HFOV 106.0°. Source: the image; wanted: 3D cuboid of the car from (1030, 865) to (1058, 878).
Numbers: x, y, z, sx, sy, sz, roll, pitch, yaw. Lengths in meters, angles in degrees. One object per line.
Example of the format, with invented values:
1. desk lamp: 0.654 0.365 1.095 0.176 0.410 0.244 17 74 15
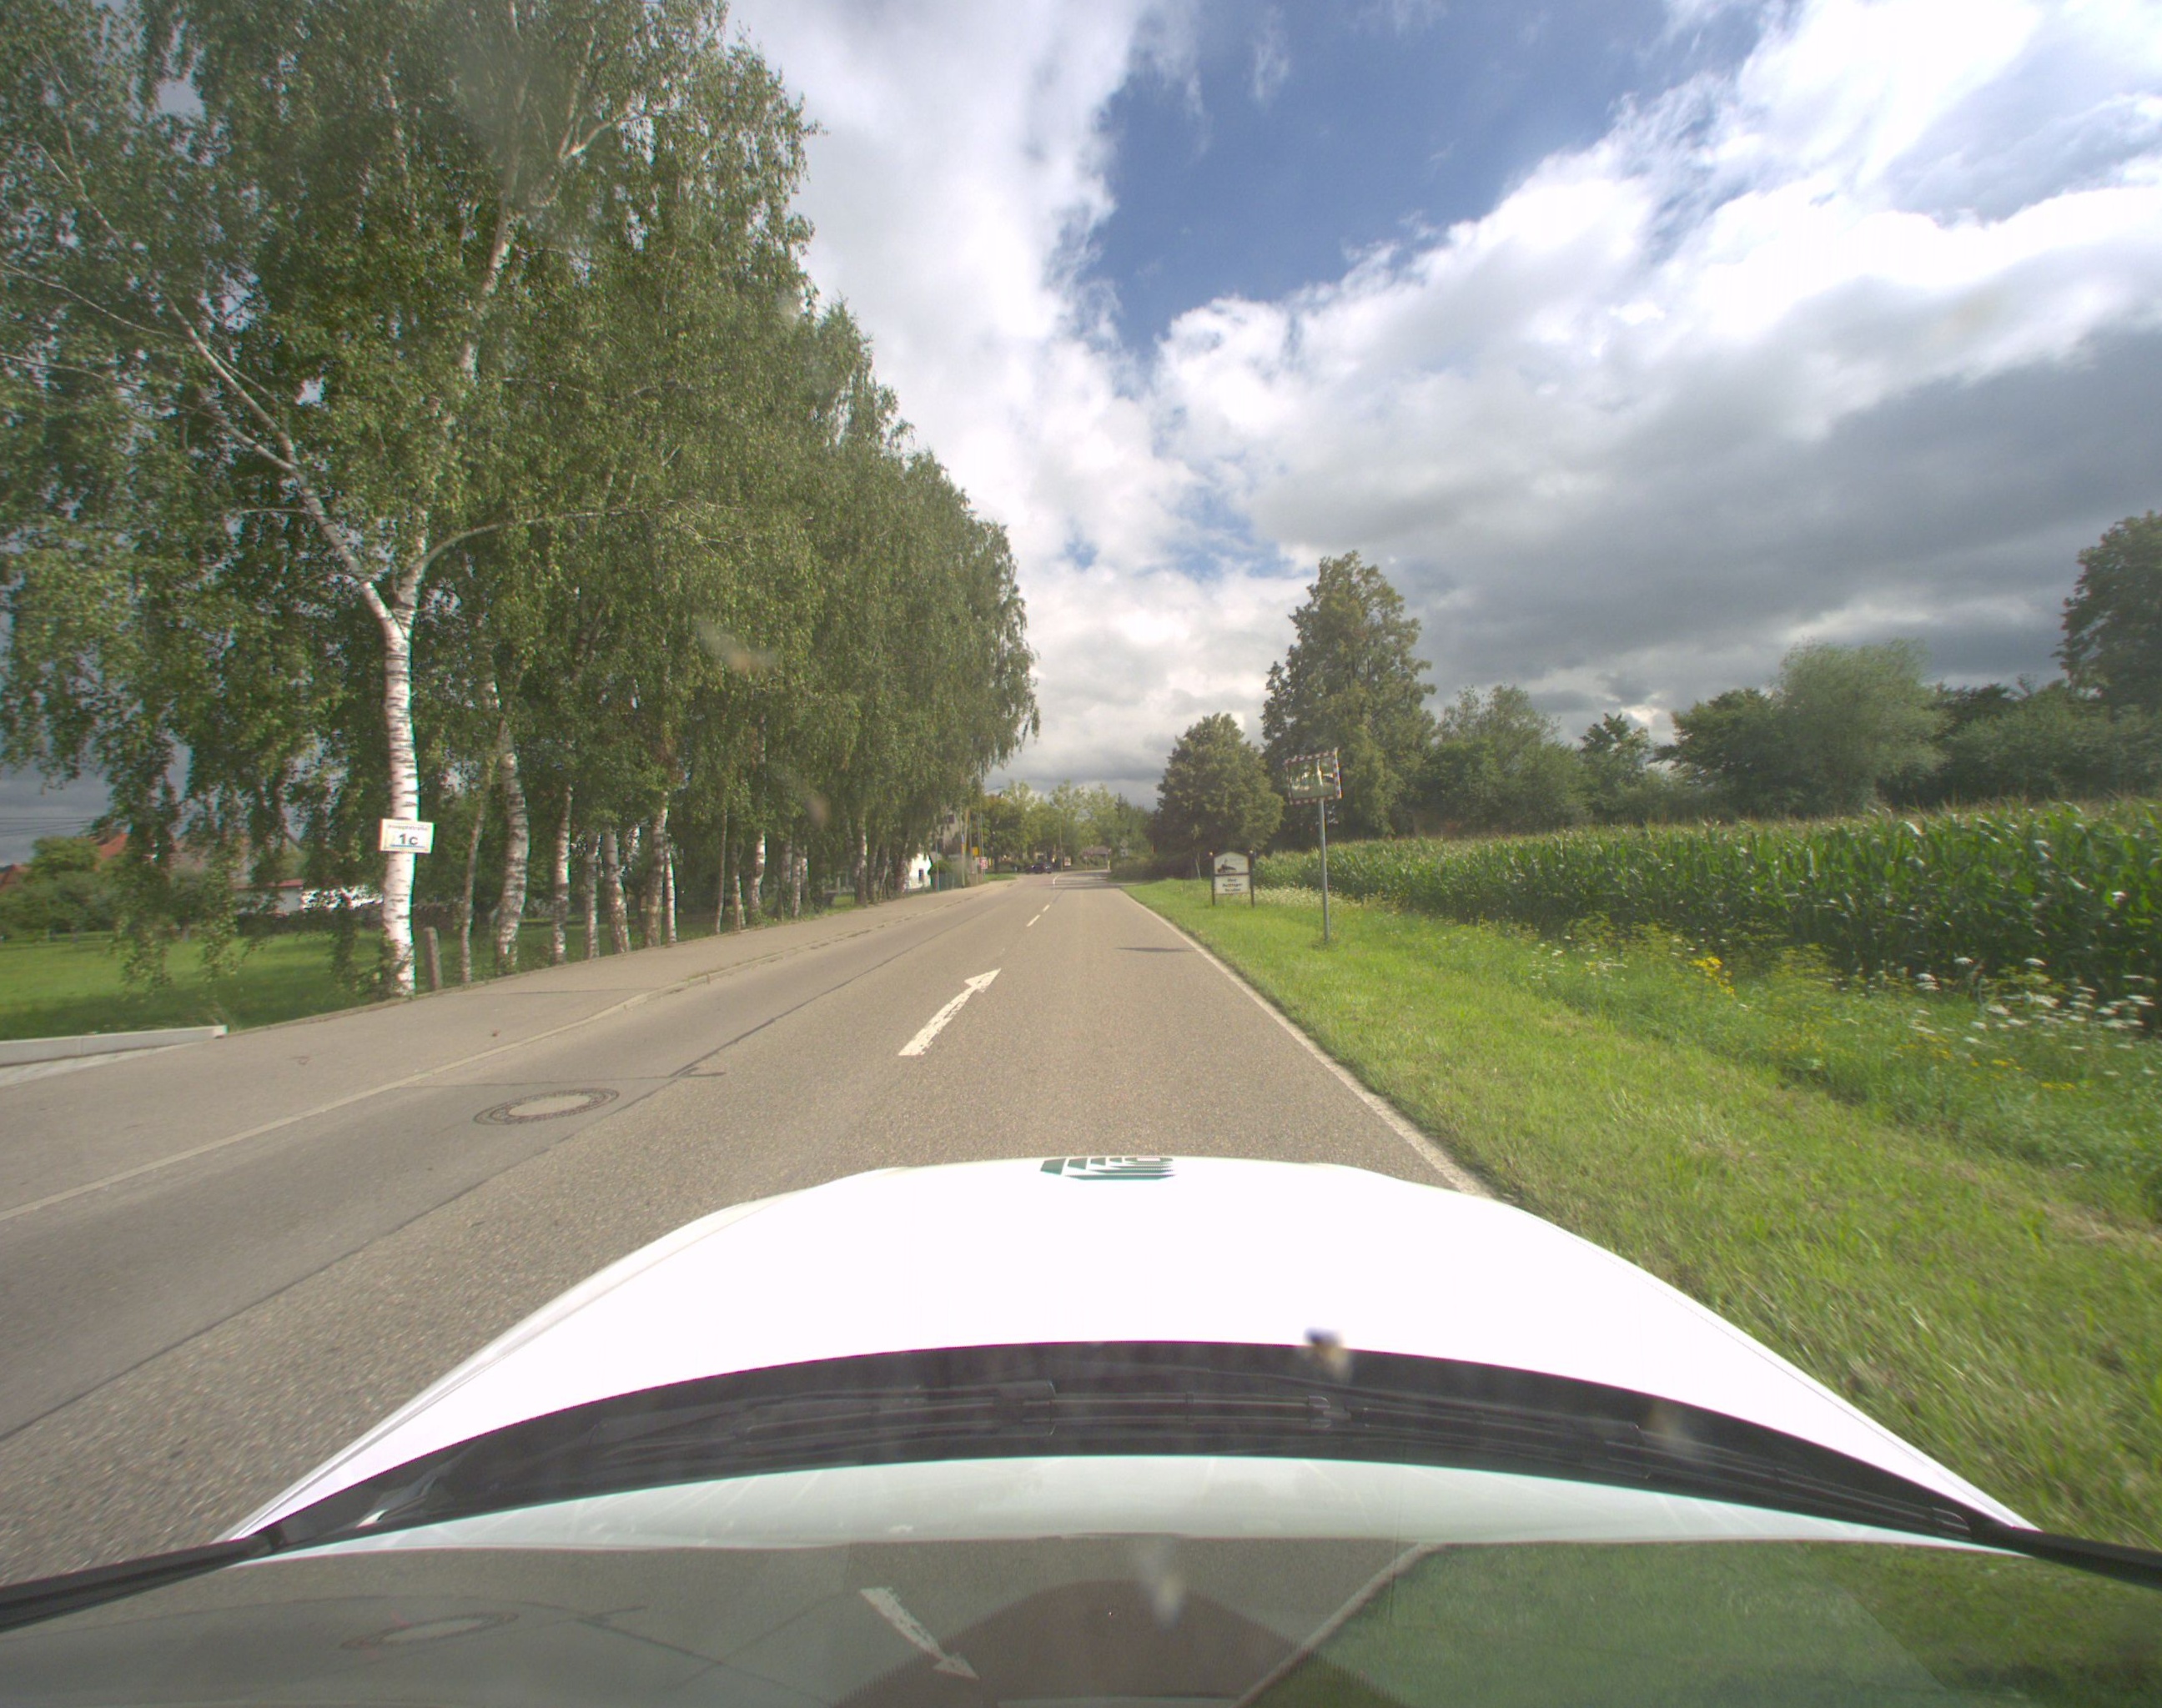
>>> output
1. car: -5.075 2.417 112.349 2.009 1.585 3.956 -2 0 -35
